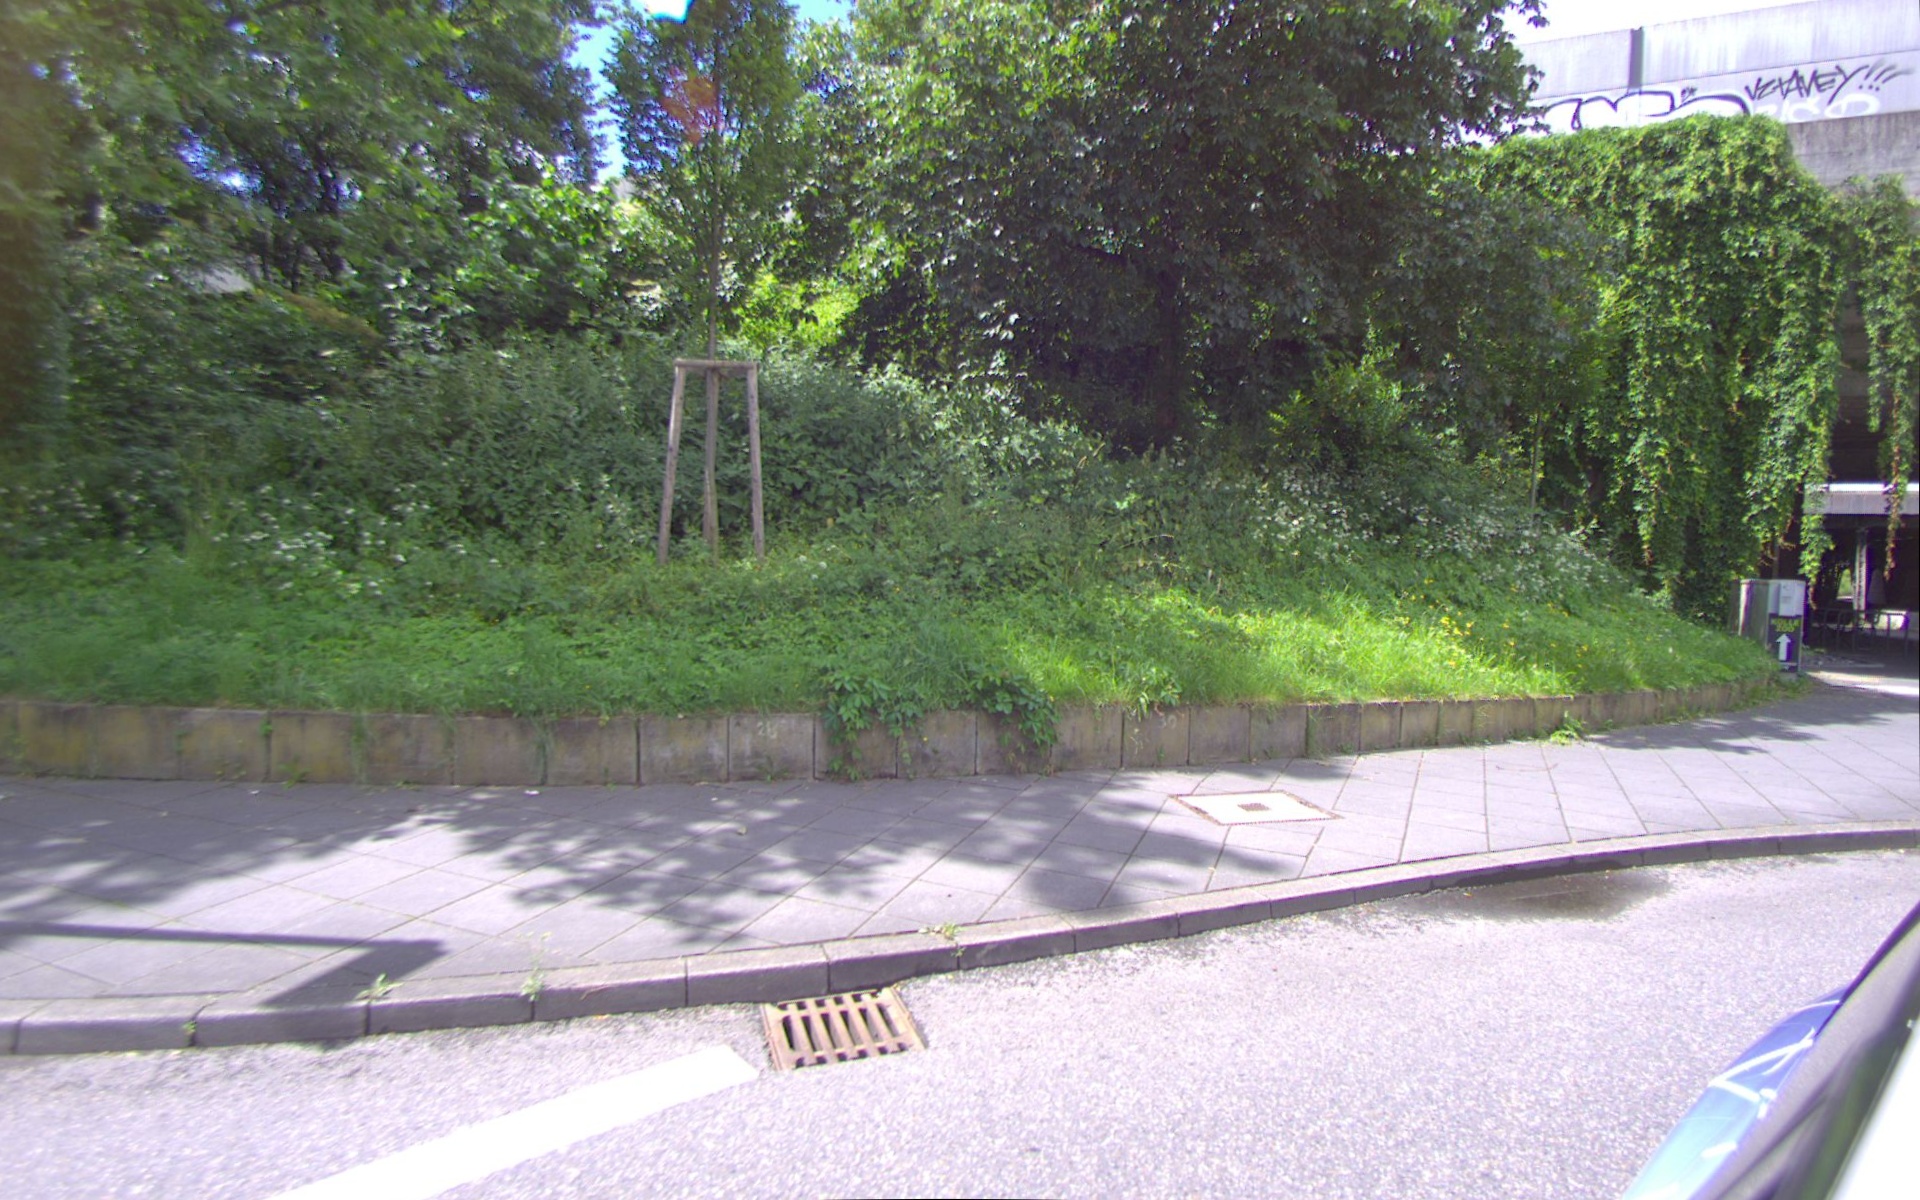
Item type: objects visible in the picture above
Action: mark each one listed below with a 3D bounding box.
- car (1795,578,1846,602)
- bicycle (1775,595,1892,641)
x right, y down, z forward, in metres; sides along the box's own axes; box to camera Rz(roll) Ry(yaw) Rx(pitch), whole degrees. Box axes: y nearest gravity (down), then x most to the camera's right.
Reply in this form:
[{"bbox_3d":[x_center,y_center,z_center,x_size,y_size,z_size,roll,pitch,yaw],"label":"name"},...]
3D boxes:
[{"bbox_3d":[58.267,-0.686,68.602,1.660,1.465,3.818,4,3,26],"label":"car"},{"bbox_3d":[20.306,0.411,23.567,1.933,0.915,0.502,4,3,27],"label":"bicycle"}]
